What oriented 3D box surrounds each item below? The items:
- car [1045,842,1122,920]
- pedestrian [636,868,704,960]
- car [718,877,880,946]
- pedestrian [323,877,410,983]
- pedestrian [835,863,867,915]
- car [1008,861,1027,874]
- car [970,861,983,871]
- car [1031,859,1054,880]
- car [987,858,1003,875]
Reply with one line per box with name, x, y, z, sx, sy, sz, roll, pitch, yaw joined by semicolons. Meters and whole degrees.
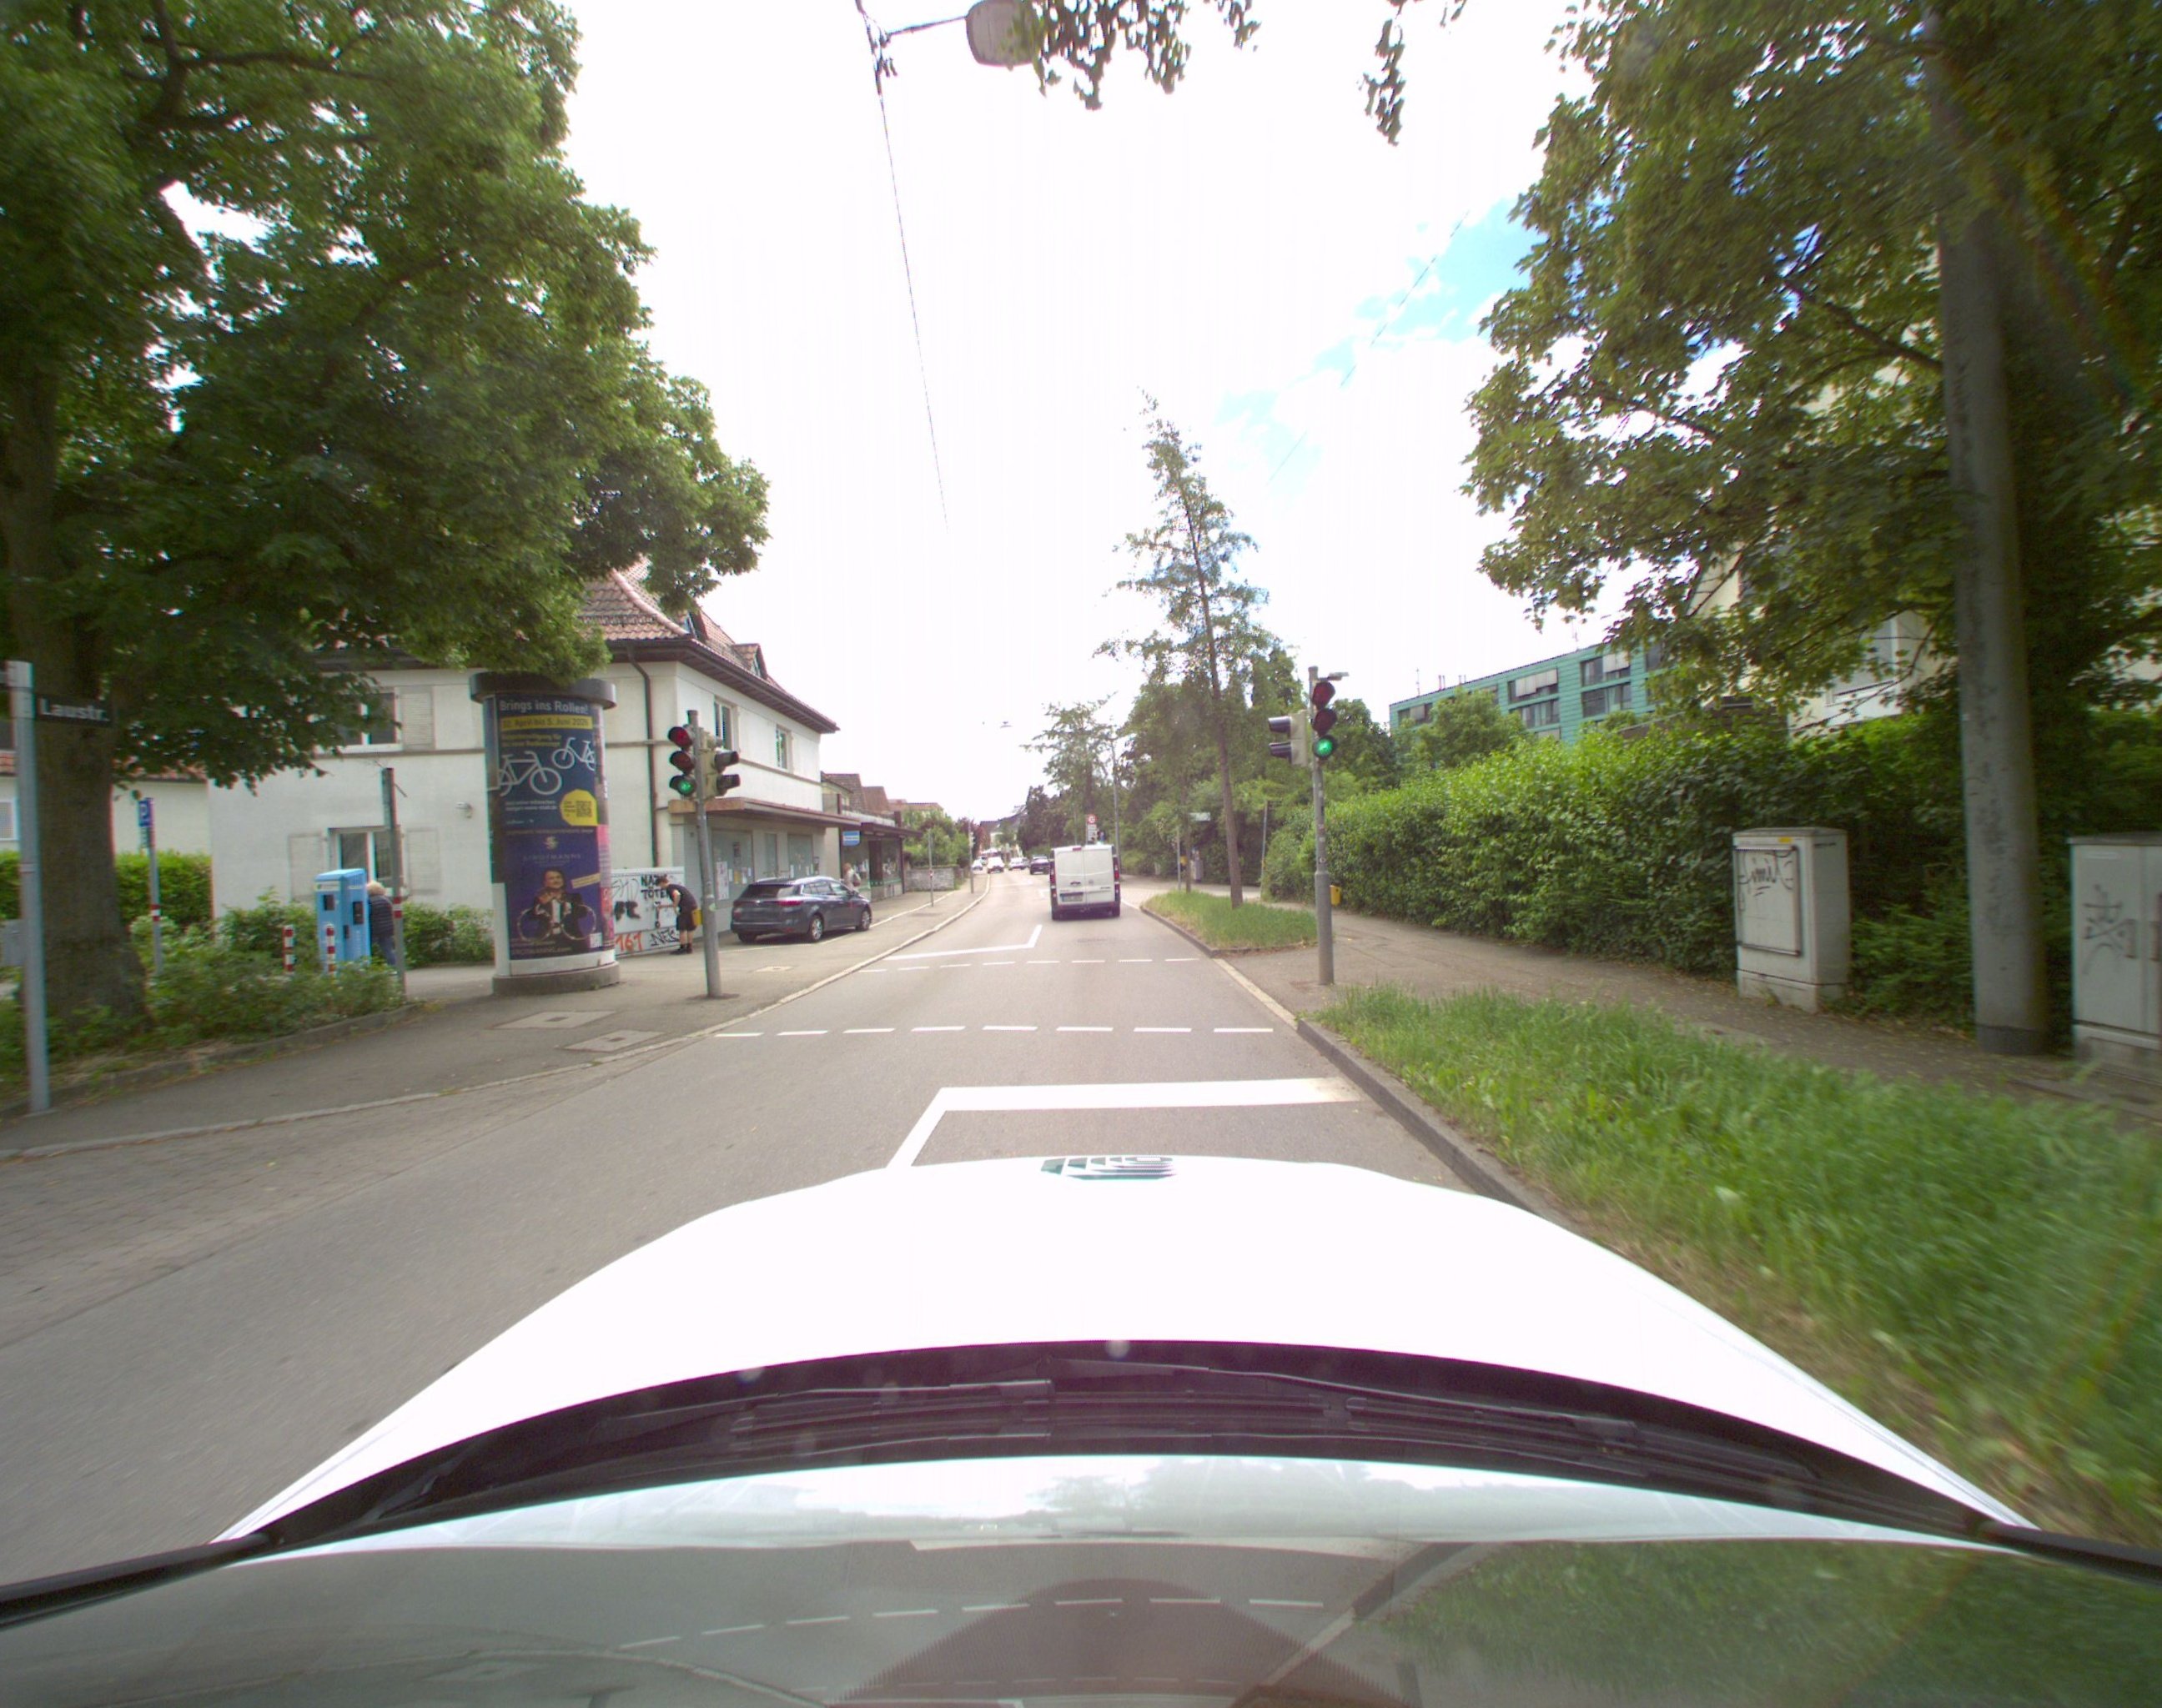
car;0.077;0.740;23.197;1.924;1.964;4.401;-2;-1;0
pedestrian;-7.959;1.137;15.790;0.880;1.718;0.764;-1;-1;15
car;-6.584;1.292;19.648;1.769;1.441;4.535;-1;-2;8
pedestrian;-11.474;1.199;13.095;0.694;1.616;0.716;-2;1;5
pedestrian;-7.847;1.178;27.833;0.881;1.751;0.962;-1;-1;-6
car;-8.563;1.837;109.294;1.827;1.728;3.981;-1;-1;-14
car;-17.615;2.058;137.254;1.884;1.512;4.097;-4;0;-11
car;-3.543;1.469;75.559;1.891;1.860;4.401;-2;-1;-1
car;-10.870;1.588;102.800;1.865;1.911;5.104;-4;0;-6
